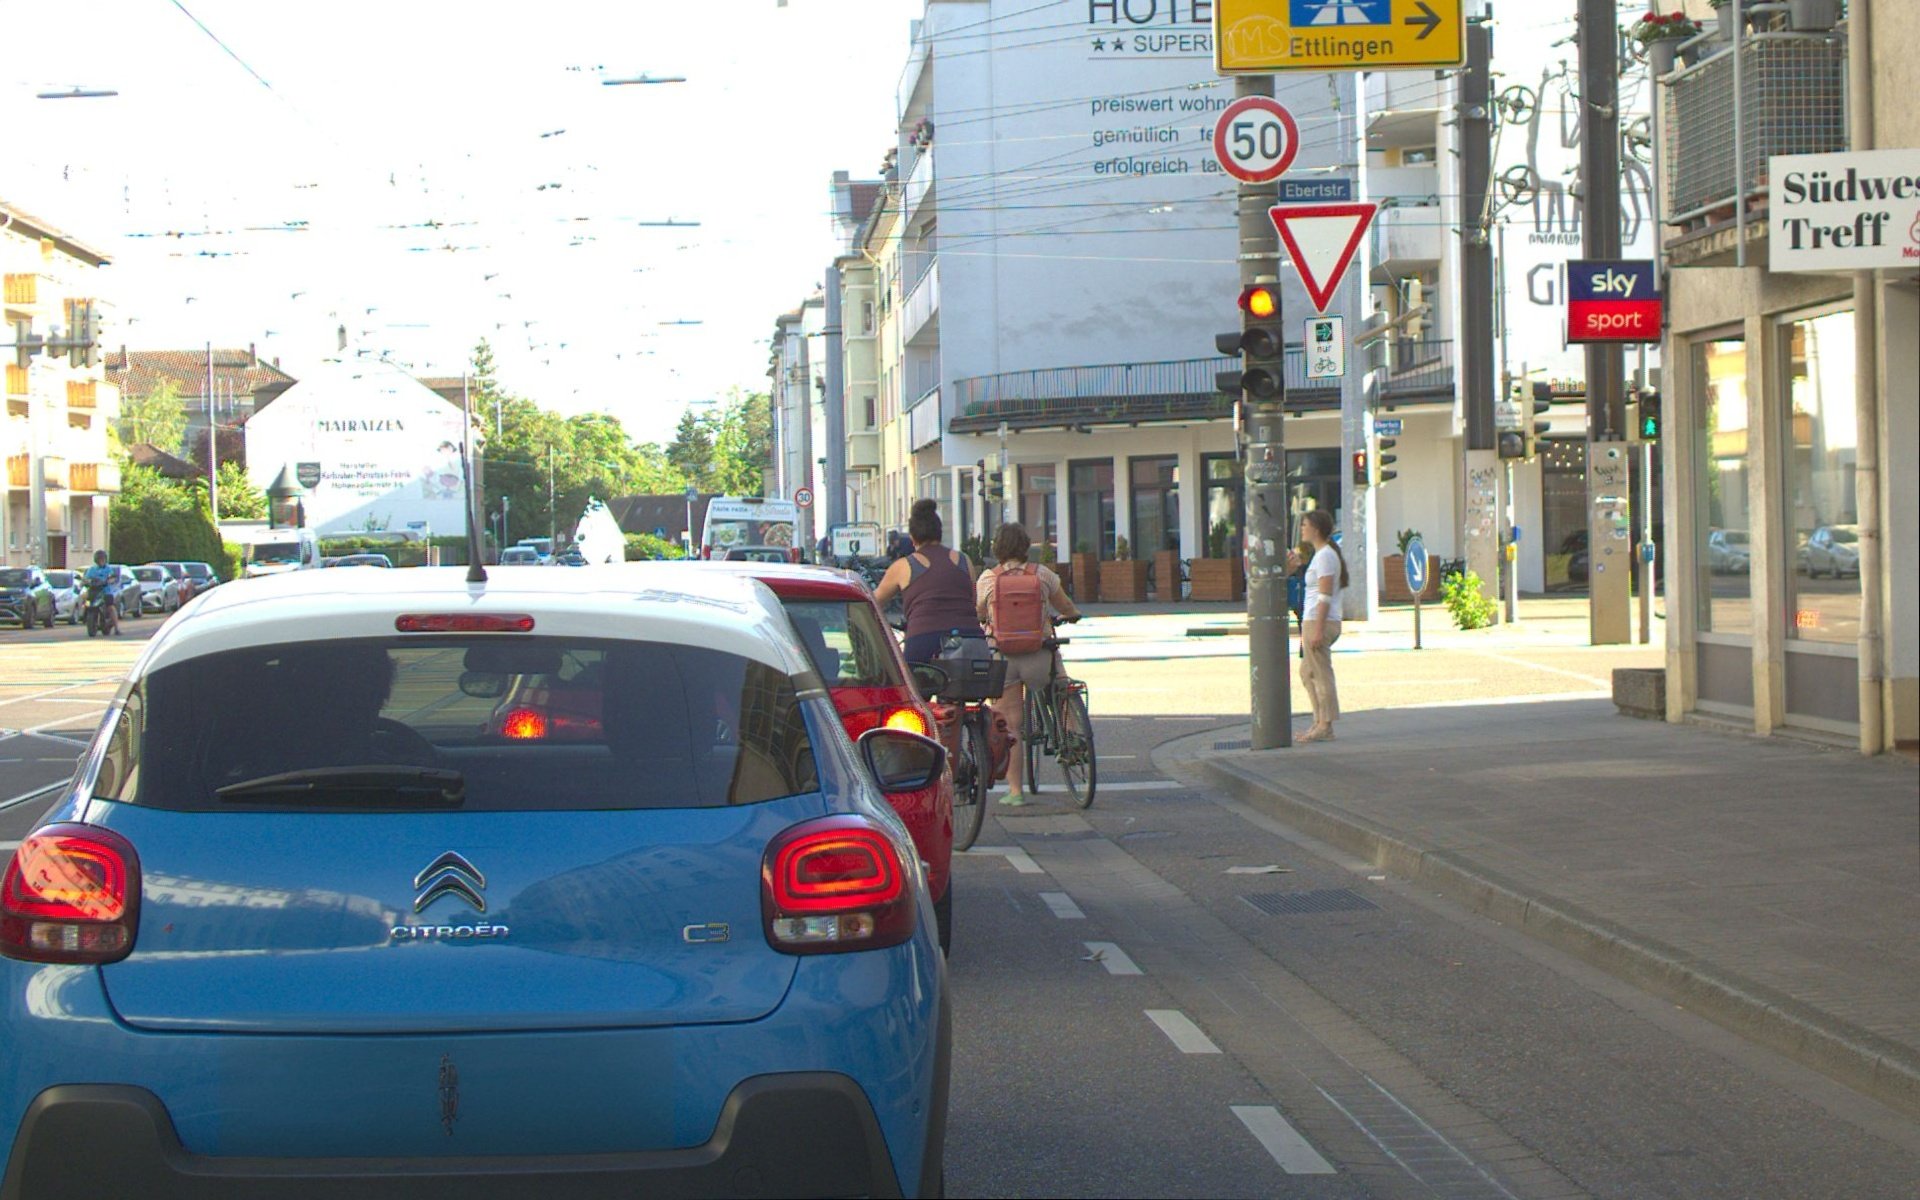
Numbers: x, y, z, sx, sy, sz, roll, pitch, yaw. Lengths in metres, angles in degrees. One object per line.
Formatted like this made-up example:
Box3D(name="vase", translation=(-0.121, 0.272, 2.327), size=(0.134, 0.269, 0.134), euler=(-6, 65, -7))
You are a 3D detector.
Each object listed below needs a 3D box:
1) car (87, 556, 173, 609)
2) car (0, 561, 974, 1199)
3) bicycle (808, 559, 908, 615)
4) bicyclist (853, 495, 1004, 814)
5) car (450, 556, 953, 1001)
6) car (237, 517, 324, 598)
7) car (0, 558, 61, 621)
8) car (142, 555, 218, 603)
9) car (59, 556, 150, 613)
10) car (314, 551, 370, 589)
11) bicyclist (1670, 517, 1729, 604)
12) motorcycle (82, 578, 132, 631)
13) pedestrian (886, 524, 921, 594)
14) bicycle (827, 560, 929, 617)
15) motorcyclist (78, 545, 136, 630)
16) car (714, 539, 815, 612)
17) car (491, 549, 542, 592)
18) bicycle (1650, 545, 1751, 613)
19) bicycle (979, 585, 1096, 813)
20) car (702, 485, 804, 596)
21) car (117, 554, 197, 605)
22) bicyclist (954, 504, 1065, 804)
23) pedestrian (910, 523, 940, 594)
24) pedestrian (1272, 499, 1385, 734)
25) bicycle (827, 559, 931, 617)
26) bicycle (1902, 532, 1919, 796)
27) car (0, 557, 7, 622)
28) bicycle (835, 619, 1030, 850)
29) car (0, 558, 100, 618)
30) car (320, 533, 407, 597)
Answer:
Box3D(name="car", translation=(-24.921, -0.540, 103.368), size=(1.950, 1.514, 4.001), euler=(-1, 1, -6))
Box3D(name="car", translation=(-0.960, 0.670, 7.363), size=(1.680, 1.457, 4.001), euler=(0, 1, -4))
Box3D(name="bicycle", translation=(-2.024, -0.271, 68.301), size=(1.904, 1.061, 0.642), euler=(-1, 1, -7))
Box3D(name="bicyclist", translation=(-0.172, 0.272, 18.086), size=(0.616, 1.624, 0.760), euler=(-1, 1, -13))
Box3D(name="car", translation=(-1.007, 0.578, 13.573), size=(1.680, 1.457, 4.001), euler=(0, 1, -4))
Box3D(name="car", translation=(-23.657, -1.501, 119.925), size=(2.493, 2.703, 5.839), euler=(-1, 1, -7))
Box3D(name="car", translation=(-23.782, -0.267, 85.879), size=(1.950, 1.514, 4.001), euler=(-1, 1, -6))
Box3D(name="car", translation=(-26.064, -0.720, 114.989), size=(1.950, 1.514, 4.001), euler=(-1, 1, -6))
Box3D(name="car", translation=(-24.455, -0.457, 98.364), size=(1.950, 1.514, 4.001), euler=(-1, 1, -6))
Box3D(name="car", translation=(-25.970, -1.277, 144.559), size=(1.950, 1.514, 4.001), euler=(-1, 1, -6))
Box3D(name="bicyclist", translation=(12.210, -0.652, 56.753), size=(0.728, 1.429, 0.604), euler=(0, 1, 37))
Box3D(name="motorcycle", translation=(-16.692, 0.074, 67.276), size=(0.751, 0.973, 2.098), euler=(-1, 1, -9))
Box3D(name="pedestrian", translation=(-1.151, -0.842, 70.246), size=(0.525, 1.415, 0.546), euler=(-1, 1, 20))
Box3D(name="bicycle", translation=(-1.605, -0.233, 67.109), size=(1.904, 1.061, 0.642), euler=(-1, 1, -7))
Box3D(name="motorcyclist", translation=(-16.672, -0.251, 67.202), size=(0.991, 1.625, 0.739), euler=(-1, 1, -9))
Box3D(name="car", translation=(-3.880, -0.512, 67.794), size=(1.786, 1.354, 3.915), euler=(-1, 1, -6))
Box3D(name="car", translation=(-22.037, -1.495, 170.830), size=(2.338, 2.032, 5.051), euler=(-1, 1, -6))
Box3D(name="bicycle", translation=(12.218, -0.349, 56.755), size=(1.492, 1.087, 0.604), euler=(0, 1, 37))
Box3D(name="bicycle", translation=(0.447, 0.561, 20.630), size=(0.613, 1.260, 1.911), euler=(-1, 1, -1))
Box3D(name="car", translation=(-4.429, -1.274, 73.229), size=(2.079, 2.262, 5.652), euler=(0, 1, -4))
Box3D(name="car", translation=(-25.354, -0.671, 108.647), size=(1.950, 1.514, 4.001), euler=(-1, 1, -6))
Box3D(name="bicyclist", translation=(0.290, 0.305, 20.588), size=(0.600, 1.740, 1.084), euler=(-1, 1, -1))
Box3D(name="pedestrian", translation=(-0.717, -0.844, 69.995), size=(0.467, 1.415, 0.527), euler=(-1, 1, -13))
Box3D(name="pedestrian", translation=(2.608, 0.109, 24.363), size=(0.751, 1.629, 0.740), euler=(-1, 1, 6))
Box3D(name="bicycle", translation=(-1.556, -0.239, 65.803), size=(1.904, 1.061, 0.642), euler=(-1, 1, -7))
Box3D(name="bicycle", translation=(4.913, 0.315, 15.741), size=(0.640, 1.260, 1.911), euler=(-1, 1, -1))
Box3D(name="car", translation=(-23.318, -0.194, 79.214), size=(1.950, 1.514, 4.001), euler=(-1, 1, -6))
Box3D(name="bicycle", translation=(-0.168, 0.676, 18.111), size=(0.616, 1.099, 1.887), euler=(-1, 1, -13))
Box3D(name="car", translation=(-24.302, -0.335, 91.937), size=(1.950, 1.514, 4.001), euler=(-1, 1, -6))
Box3D(name="car", translation=(-15.851, -0.950, 91.482), size=(2.004, 1.622, 5.054), euler=(-1, 1, -7))
